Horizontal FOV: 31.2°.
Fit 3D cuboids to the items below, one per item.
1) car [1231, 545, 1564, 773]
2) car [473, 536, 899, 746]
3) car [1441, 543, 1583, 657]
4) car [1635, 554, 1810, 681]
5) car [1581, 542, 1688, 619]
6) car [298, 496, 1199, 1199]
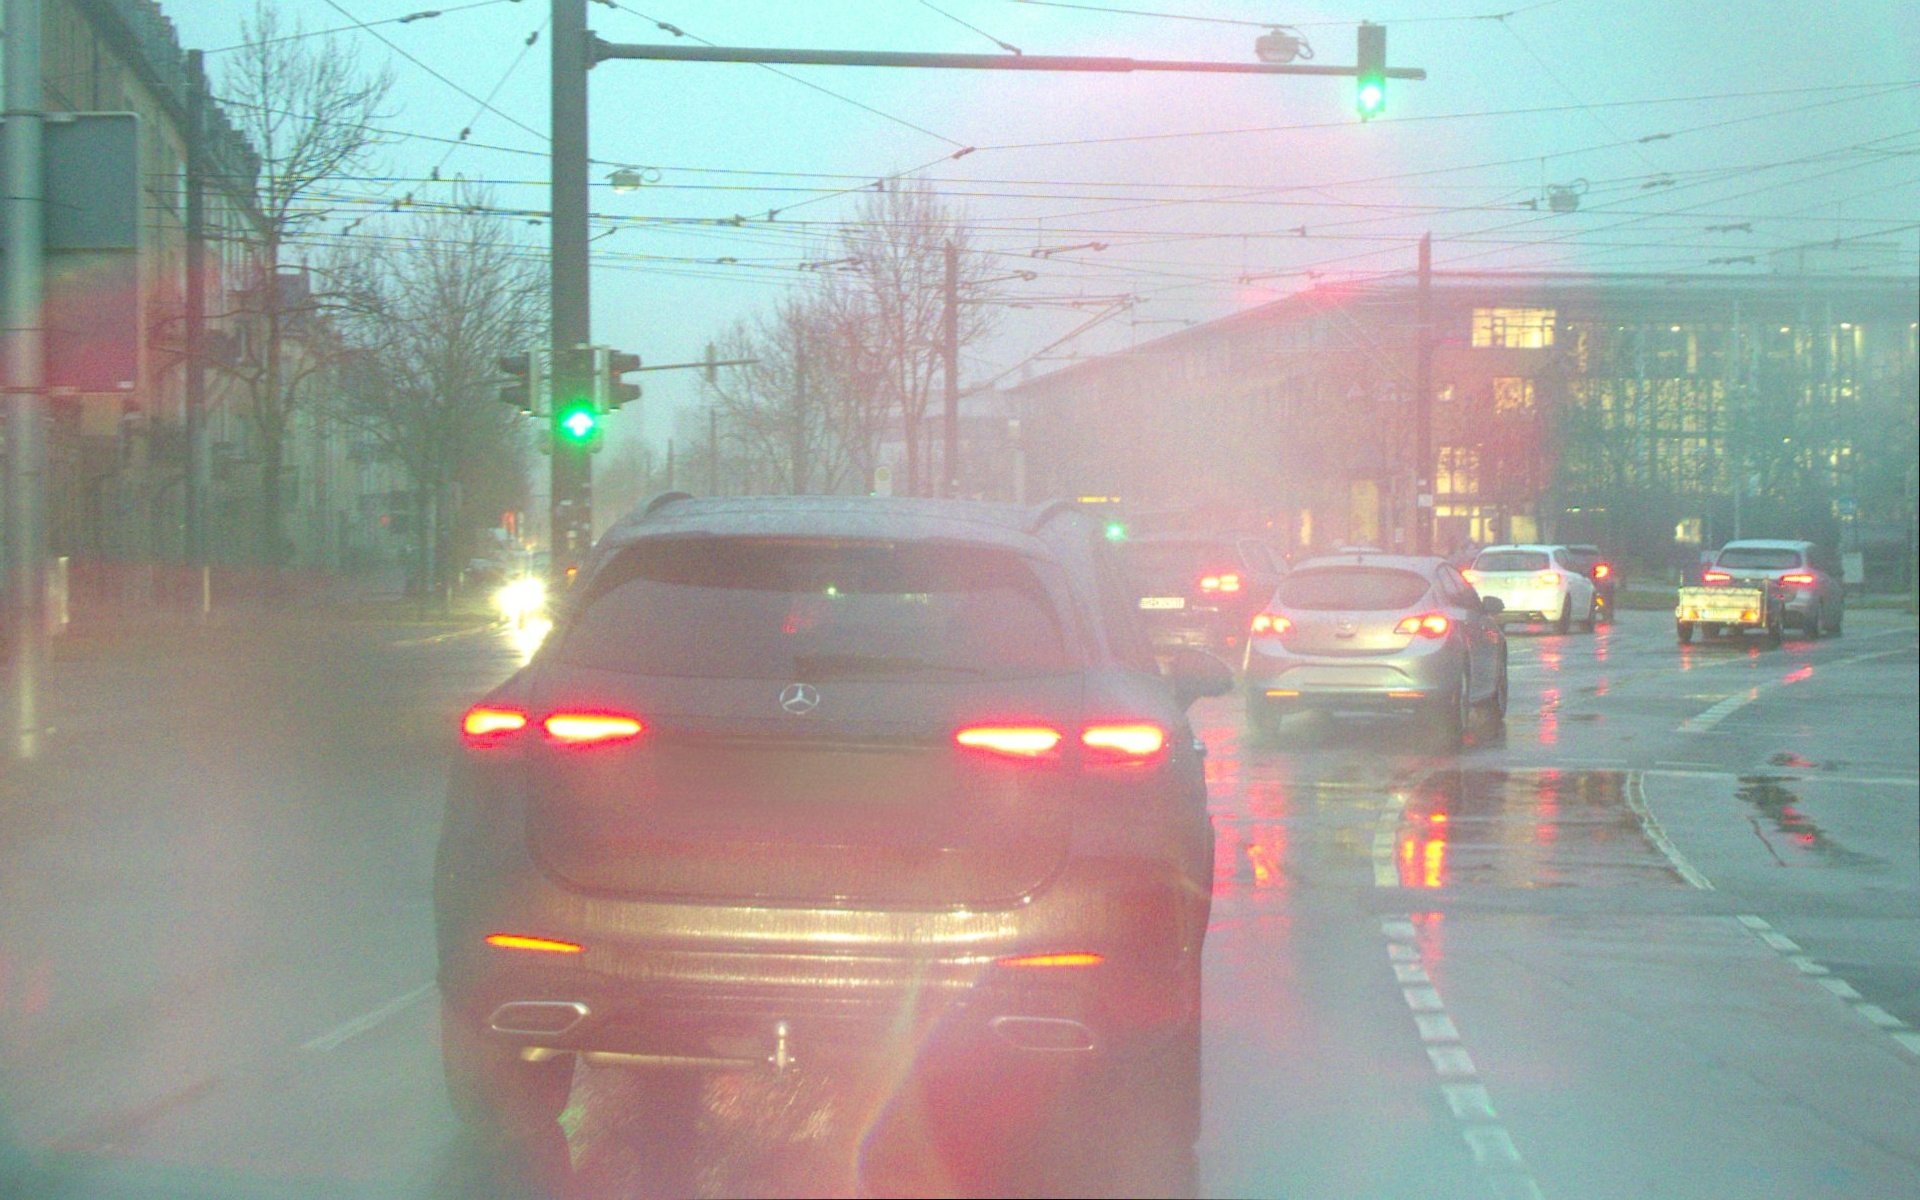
[{"bbox_3d":[3.791,0.431,29.190,1.995,1.759,3.996,0,1,20],"label":"car"},{"bbox_3d":[-1.912,0.242,25.301,1.995,1.393,3.998,0,1,13],"label":"car"},{"bbox_3d":[9.041,-0.036,56.043,1.995,1.759,3.998,0,1,13],"label":"car"},{"bbox_3d":[11.356,0.217,51.015,1.995,1.759,3.996,0,1,21],"label":"car"},{"bbox_3d":[12.931,-0.399,66.080,1.863,1.405,3.942,0,1,9],"label":"car"},{"bbox_3d":[-0.530,0.535,9.642,1.990,1.610,4.001,0,1,-2],"label":"car"}]
